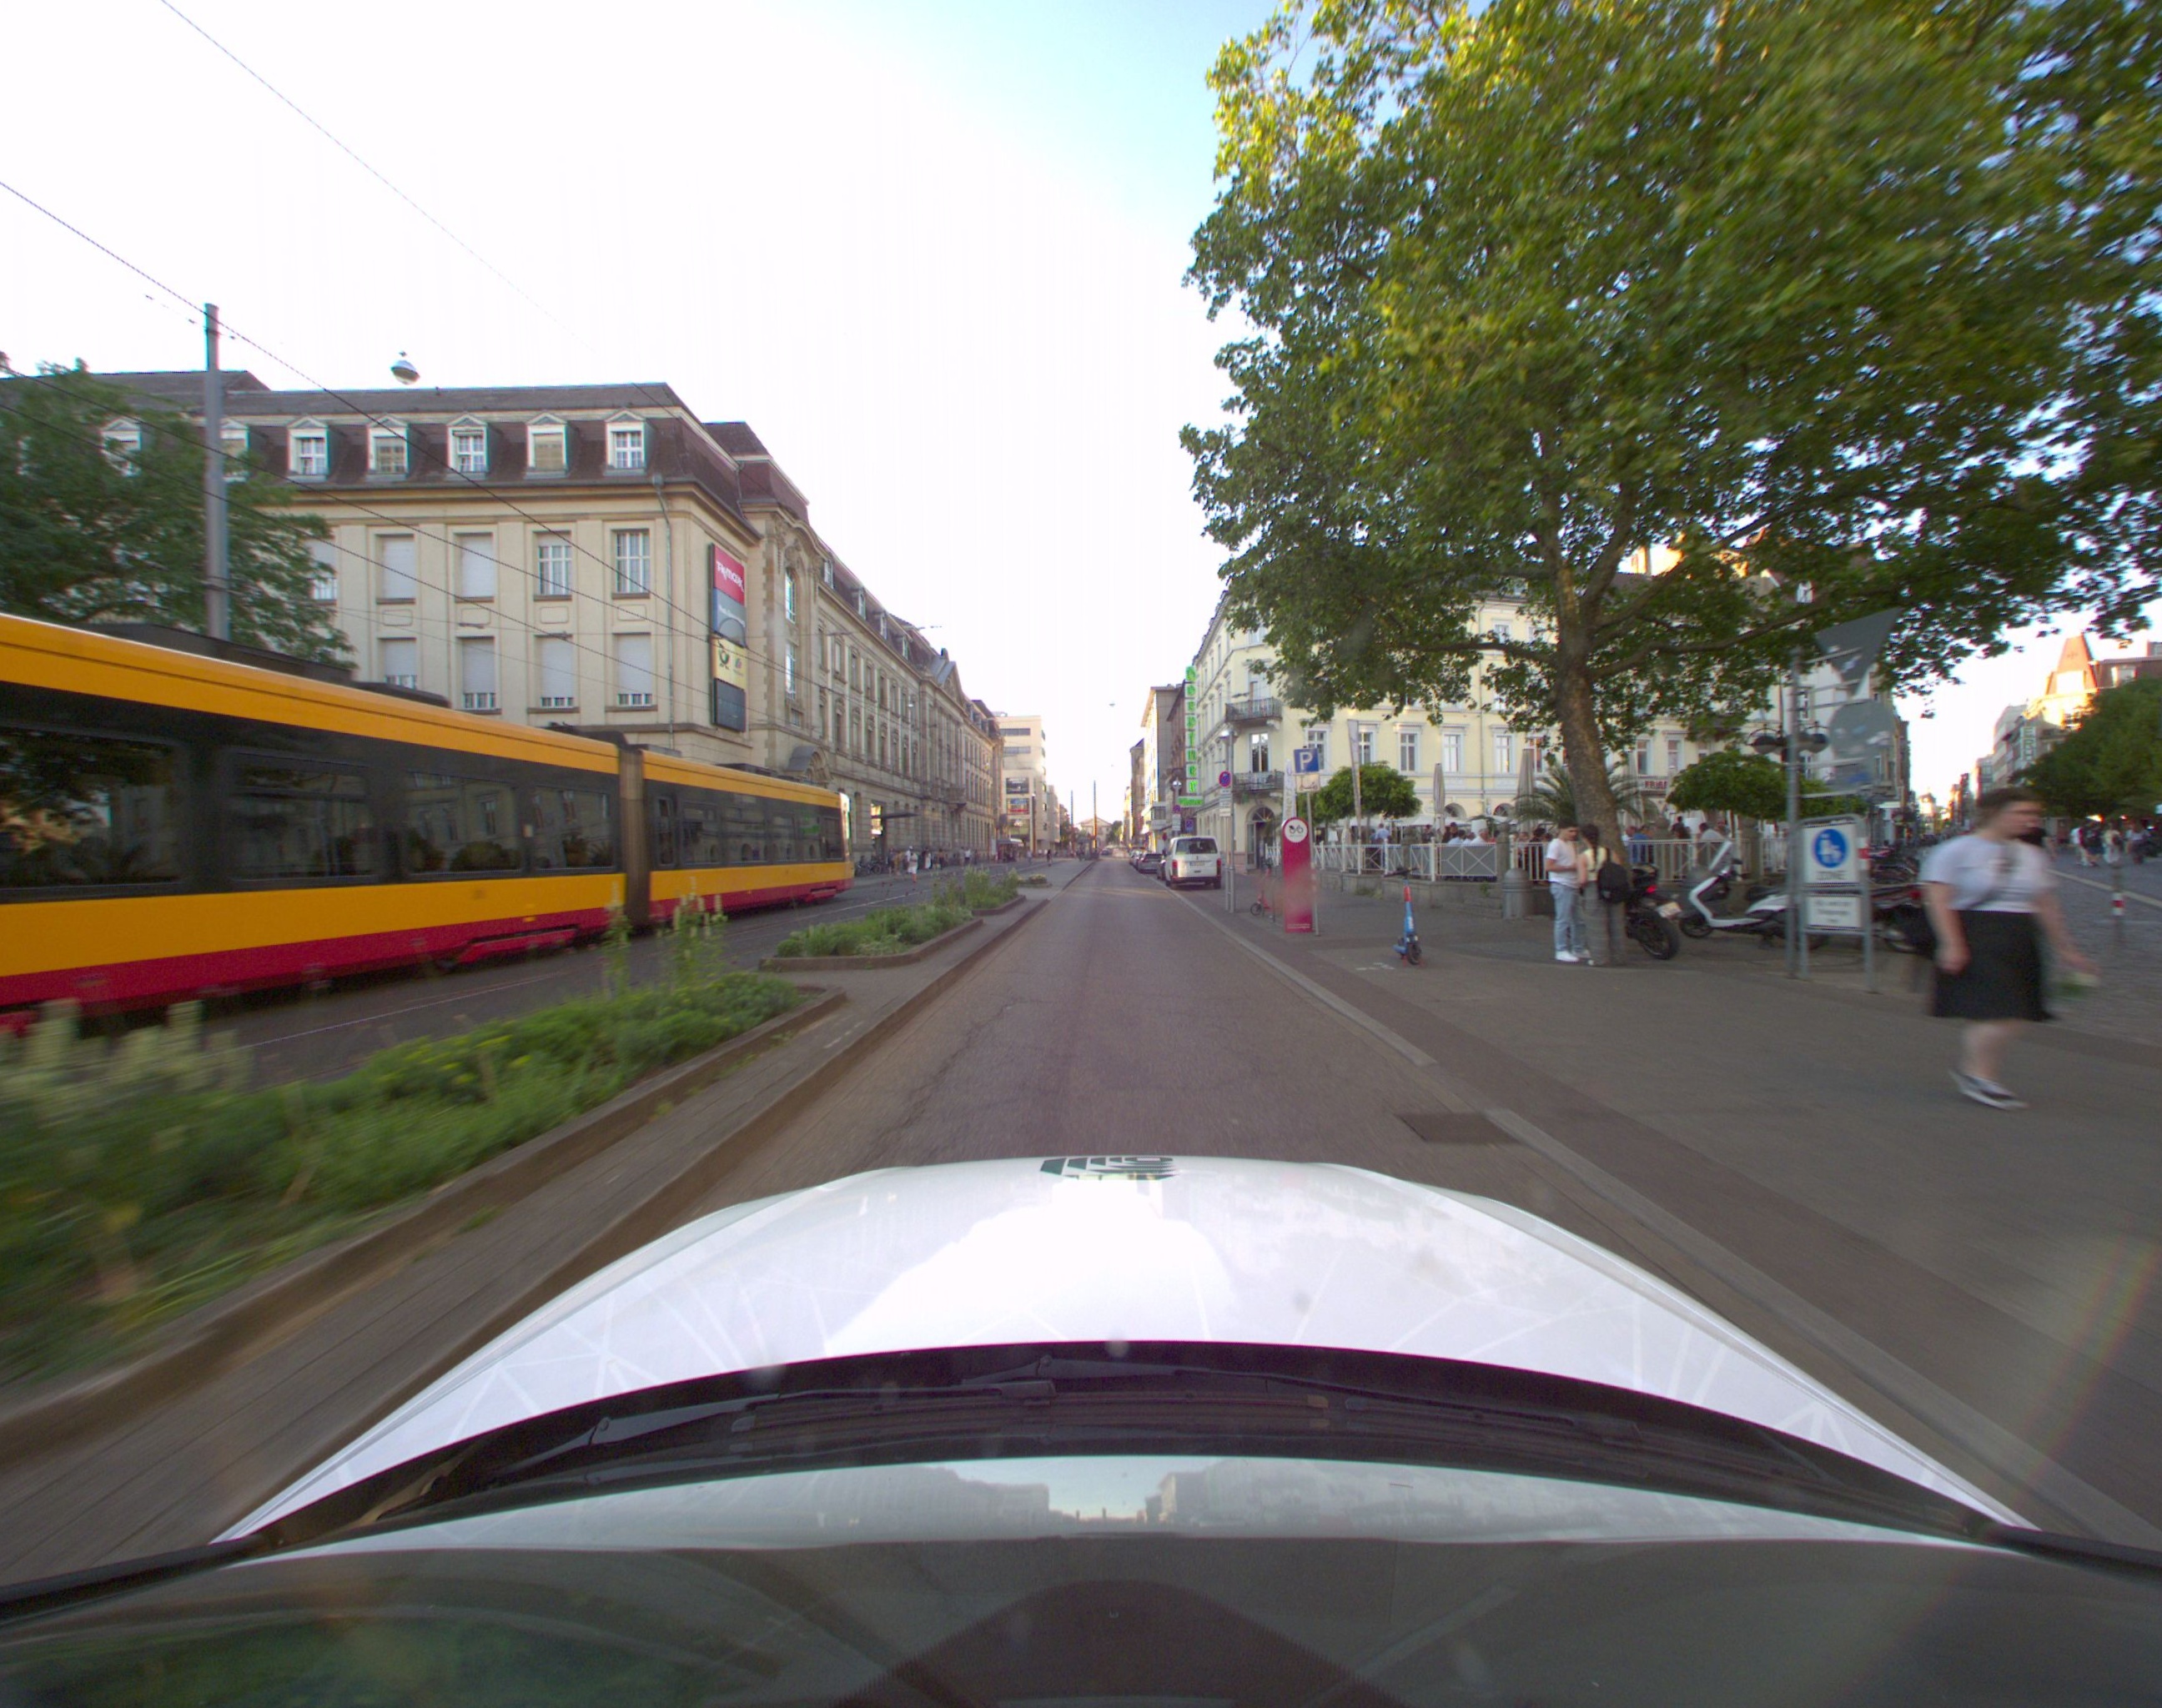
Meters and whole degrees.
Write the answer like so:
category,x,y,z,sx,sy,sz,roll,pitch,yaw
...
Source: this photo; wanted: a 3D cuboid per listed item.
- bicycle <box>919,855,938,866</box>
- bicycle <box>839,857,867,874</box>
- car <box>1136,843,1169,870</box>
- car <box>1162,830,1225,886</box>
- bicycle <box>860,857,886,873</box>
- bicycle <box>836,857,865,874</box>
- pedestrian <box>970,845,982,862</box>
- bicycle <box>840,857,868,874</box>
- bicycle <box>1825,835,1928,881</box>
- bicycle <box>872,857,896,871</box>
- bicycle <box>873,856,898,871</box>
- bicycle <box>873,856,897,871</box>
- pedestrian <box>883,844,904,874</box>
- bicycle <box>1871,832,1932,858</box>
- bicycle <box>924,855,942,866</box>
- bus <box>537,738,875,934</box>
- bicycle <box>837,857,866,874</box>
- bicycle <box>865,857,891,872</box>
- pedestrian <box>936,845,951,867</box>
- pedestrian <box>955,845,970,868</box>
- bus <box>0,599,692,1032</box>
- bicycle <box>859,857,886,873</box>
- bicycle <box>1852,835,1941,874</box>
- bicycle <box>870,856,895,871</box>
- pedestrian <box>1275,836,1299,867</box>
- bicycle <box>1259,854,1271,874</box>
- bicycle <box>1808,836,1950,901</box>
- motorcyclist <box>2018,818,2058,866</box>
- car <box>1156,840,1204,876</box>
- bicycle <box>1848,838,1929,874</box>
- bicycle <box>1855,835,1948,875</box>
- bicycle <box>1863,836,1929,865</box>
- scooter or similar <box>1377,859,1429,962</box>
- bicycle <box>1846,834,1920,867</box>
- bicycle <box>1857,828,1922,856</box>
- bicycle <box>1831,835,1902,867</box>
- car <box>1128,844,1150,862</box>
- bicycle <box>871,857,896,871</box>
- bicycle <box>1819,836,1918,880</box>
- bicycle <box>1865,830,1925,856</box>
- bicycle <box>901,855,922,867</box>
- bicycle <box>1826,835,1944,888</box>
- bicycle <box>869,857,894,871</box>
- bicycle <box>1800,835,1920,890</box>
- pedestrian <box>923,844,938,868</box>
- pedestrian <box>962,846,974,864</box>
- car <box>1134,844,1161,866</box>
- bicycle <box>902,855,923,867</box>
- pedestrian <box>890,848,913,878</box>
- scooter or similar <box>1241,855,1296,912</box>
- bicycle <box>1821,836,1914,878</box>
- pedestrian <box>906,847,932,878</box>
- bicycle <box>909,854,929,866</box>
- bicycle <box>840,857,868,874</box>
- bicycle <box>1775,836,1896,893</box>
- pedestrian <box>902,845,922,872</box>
category,x,y,z,sx,sy,sz,roll,pitch,yaw
bicycle,-12.992,0.560,69.366,1.583,0.949,0.358,-1,-2,-10
bicycle,-13.501,0.683,48.195,1.583,0.949,0.358,-1,-2,-10
car,4.889,0.178,56.249,1.986,1.761,4.423,-1,0,2
car,4.254,0.134,31.444,1.908,1.981,4.423,-1,0,2
bicycle,-13.241,0.700,51.846,1.583,0.949,0.358,-1,-1,-10
bicycle,-13.380,0.661,47.347,1.583,0.949,0.358,-1,-1,-10
pedestrian,-10.700,-0.046,82.934,1.051,1.686,0.903,-1,0,-17
bicycle,-13.640,0.691,49.010,1.583,0.949,0.358,-1,-2,-10
bicycle,23.003,0.116,23.603,2.090,1.291,0.445,0,0,36
bicycle,-13.393,0.670,55.342,1.583,0.949,0.358,-1,-2,-10
bicycle,-13.499,0.651,56.239,1.583,0.949,0.358,-1,-2,-10
bicycle,-13.432,0.663,55.794,1.583,0.949,0.358,-1,-2,-10
pedestrian,-10.915,0.283,47.362,0.869,1.710,1.132,-1,-1,3
bicycle,41.300,-0.453,41.029,2.090,1.291,0.445,-1,0,36
bicycle,-12.879,0.547,70.826,1.583,0.949,0.358,-1,-2,-10
bus,-8.504,-0.336,21.109,2.811,3.612,11.829,-1,0,2
bicycle,-13.436,0.677,47.745,1.583,0.949,0.358,-1,-2,-10
bicycle,-13.348,0.664,53.534,1.583,0.949,0.358,-1,-2,-10
pedestrian,-10.406,0.152,61.565,1.048,1.686,0.906,-1,-2,-8
pedestrian,-9.116,0.198,62.573,1.048,1.686,0.906,-1,-2,-8
bus,-8.838,-0.326,11.031,2.811,3.624,8.294,-1,0,2
bicycle,-13.155,0.697,51.409,1.583,0.949,0.358,-1,-2,-10
bicycle,27.900,0.018,27.914,2.089,1.291,0.445,-1,0,36
bicycle,-13.278,0.659,54.443,1.583,0.949,0.358,-1,-2,-10
pedestrian,8.979,-0.086,35.502,0.820,1.306,0.870,-1,-1,1
bicycle,8.318,0.461,36.898,0.249,0.902,1.374,-1,-1,2
bicycle,16.816,0.273,17.226,0.444,1.291,2.095,-2,2,-33
motorcyclist,29.187,-0.348,24.836,0.591,1.440,0.607,-2,-2,32
car,4.894,0.216,40.731,1.986,1.667,4.423,-1,0,2
bicycle,29.764,0.067,30.056,2.090,1.291,0.445,-1,0,36
bicycle,27.080,0.040,26.926,2.089,1.291,0.445,-1,0,36
bicycle,37.431,-0.152,37.448,2.090,1.291,0.445,-1,0,36
scooter or similar,4.147,0.697,10.547,0.313,1.221,1.275,-2,0,9
bicycle,32.232,-0.140,32.762,2.090,1.291,0.445,-1,0,36
bicycle,37.891,-0.538,38.195,2.090,1.291,0.445,-1,0,36
bicycle,33.007,-0.124,34.268,2.090,1.291,0.445,-1,0,36
car,5.827,-0.039,82.239,1.986,1.667,4.422,-1,-1,2
bicycle,-13.330,0.668,54.883,1.583,0.949,0.358,-1,-2,-10
bicycle,23.695,0.116,24.555,2.090,1.291,0.445,0,1,36
bicycle,41.135,-0.529,41.174,2.090,1.291,0.445,-1,0,36
bicycle,-13.384,0.552,64.421,1.583,0.949,0.358,-1,-2,-10
bicycle,20.462,0.159,20.781,0.444,1.291,2.095,-2,2,-33
bicycle,-13.228,0.667,54.006,1.582,0.949,0.358,-1,-2,-10
bicycle,19.209,0.177,20.143,0.444,1.291,2.095,-3,3,-33
pedestrian,-11.156,0.151,60.364,1.048,1.686,0.906,-1,-2,-8
pedestrian,-11.268,0.099,80.987,1.051,1.686,0.903,-1,0,-17
car,5.607,0.110,69.081,1.986,1.667,4.422,-1,-1,2
bicycle,-13.427,0.551,64.857,1.583,0.949,0.358,-1,-2,-10
pedestrian,-9.021,0.447,40.898,0.750,1.514,0.868,0,0,45
scooter or similar,4.164,0.659,18.140,1.120,1.216,0.301,-2,-1,3
bicycle,25.138,0.080,26.082,2.090,1.291,0.445,0,1,36
pedestrian,-8.033,0.429,40.341,0.710,1.514,1.043,0,0,45
bicycle,-13.259,0.521,66.518,1.583,0.949,0.358,-1,-2,-10
bicycle,-13.563,0.684,48.605,1.583,0.949,0.358,-1,-2,-10
bicycle,18.192,0.213,19.698,0.444,1.291,2.095,-3,3,-33
pedestrian,-10.455,0.280,50.437,0.873,1.653,0.879,-2,-2,15
